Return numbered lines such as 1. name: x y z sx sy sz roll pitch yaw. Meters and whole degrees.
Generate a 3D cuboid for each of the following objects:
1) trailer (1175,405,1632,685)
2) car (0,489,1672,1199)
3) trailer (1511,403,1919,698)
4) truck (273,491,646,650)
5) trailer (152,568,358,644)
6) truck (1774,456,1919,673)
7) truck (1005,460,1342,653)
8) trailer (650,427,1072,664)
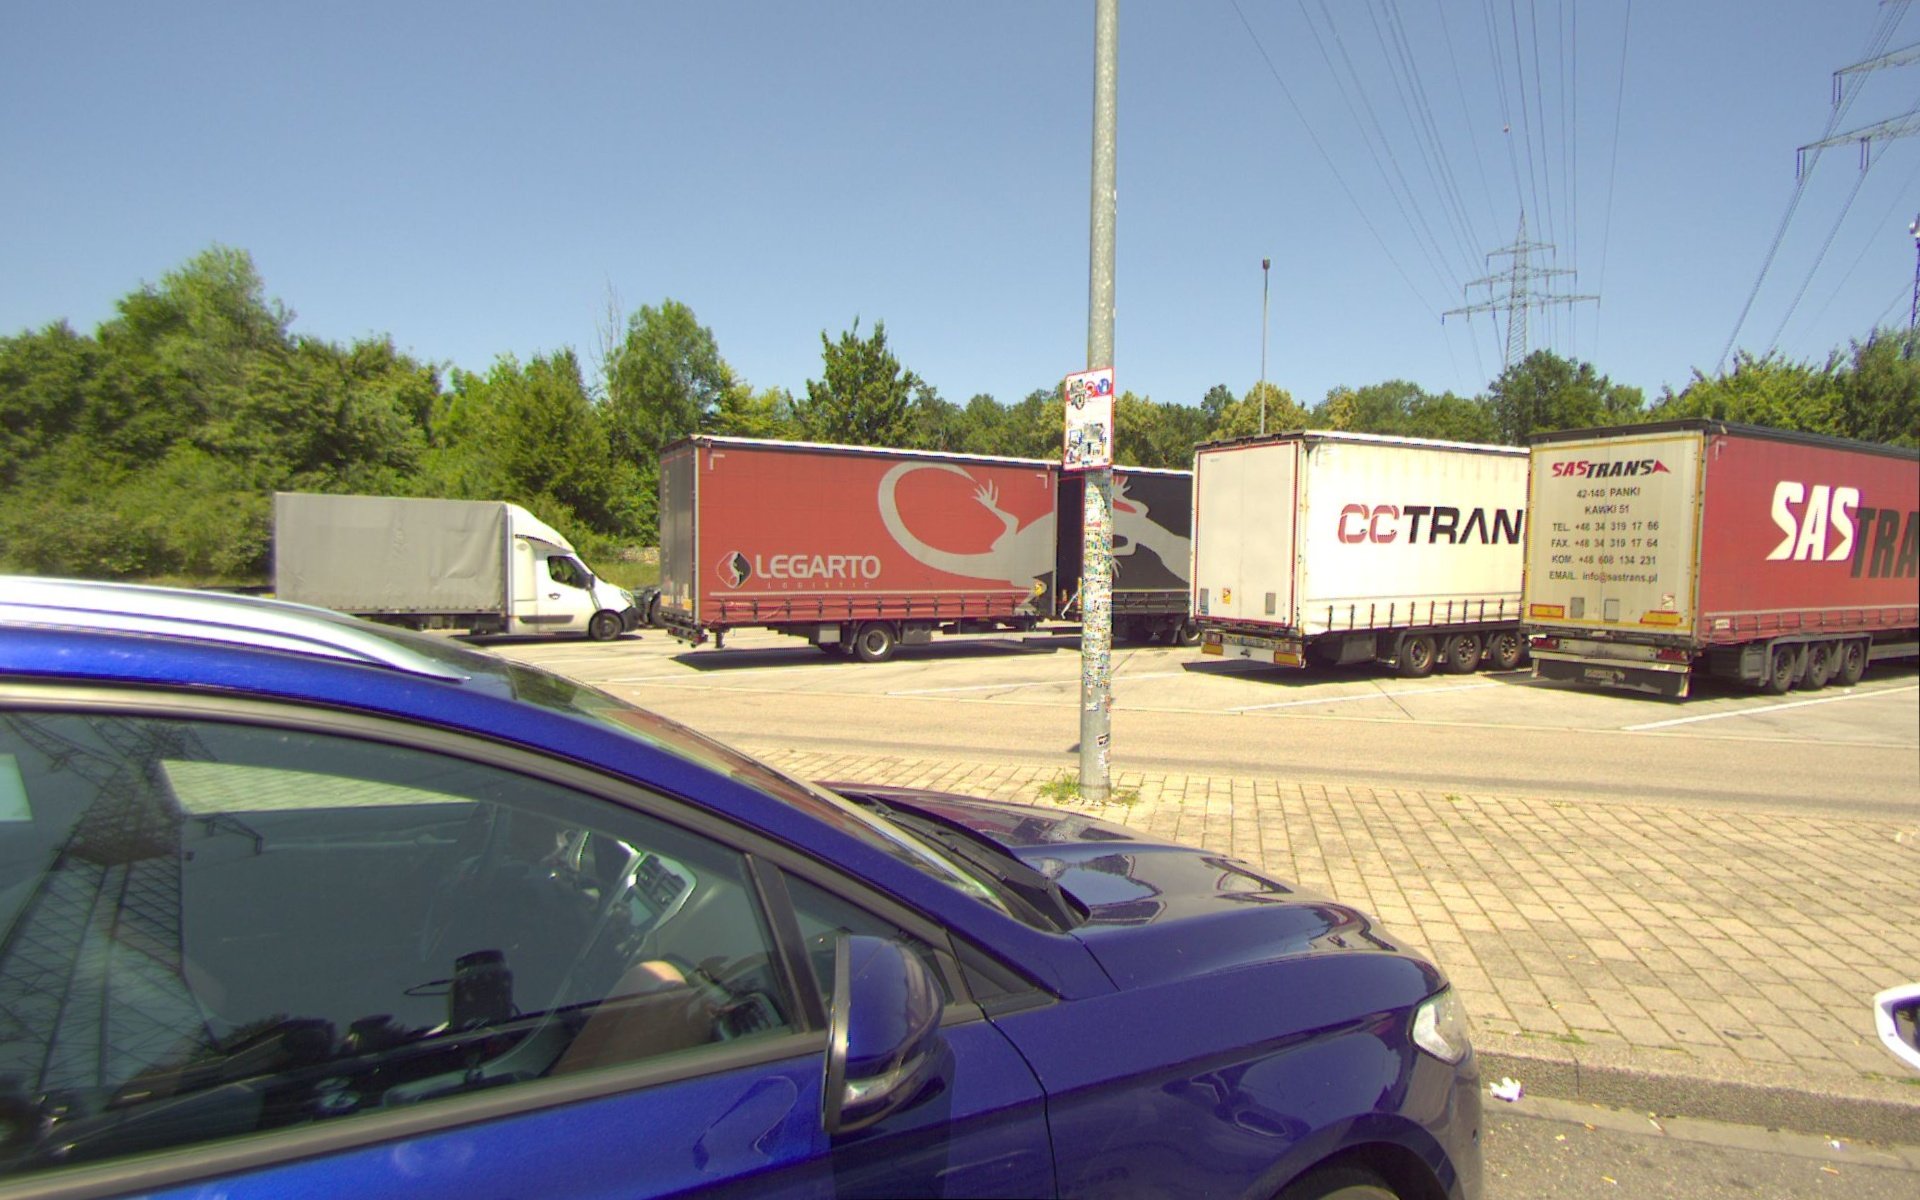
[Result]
1. trailer: 8.694 -0.833 19.094 9.614 4.321 2.733 0 1 -29
2. car: -1.029 0.654 1.453 4.419 1.485 1.765 0 1 -32
3. trailer: 15.338 -0.672 18.526 13.129 4.112 2.736 0 1 -31
4. truck: -11.128 -0.610 22.894 7.265 3.170 2.352 0 1 -30
5. trailer: -16.527 0.141 23.779 3.856 1.684 1.464 0 1 -30
6. truck: 20.802 -0.677 21.757 6.749 4.136 2.729 0 1 -31
7. truck: 5.385 -0.914 24.570 8.534 4.073 2.624 0 1 -30
8. trailer: -1.807 -0.922 20.298 8.158 4.027 2.651 0 1 -30
